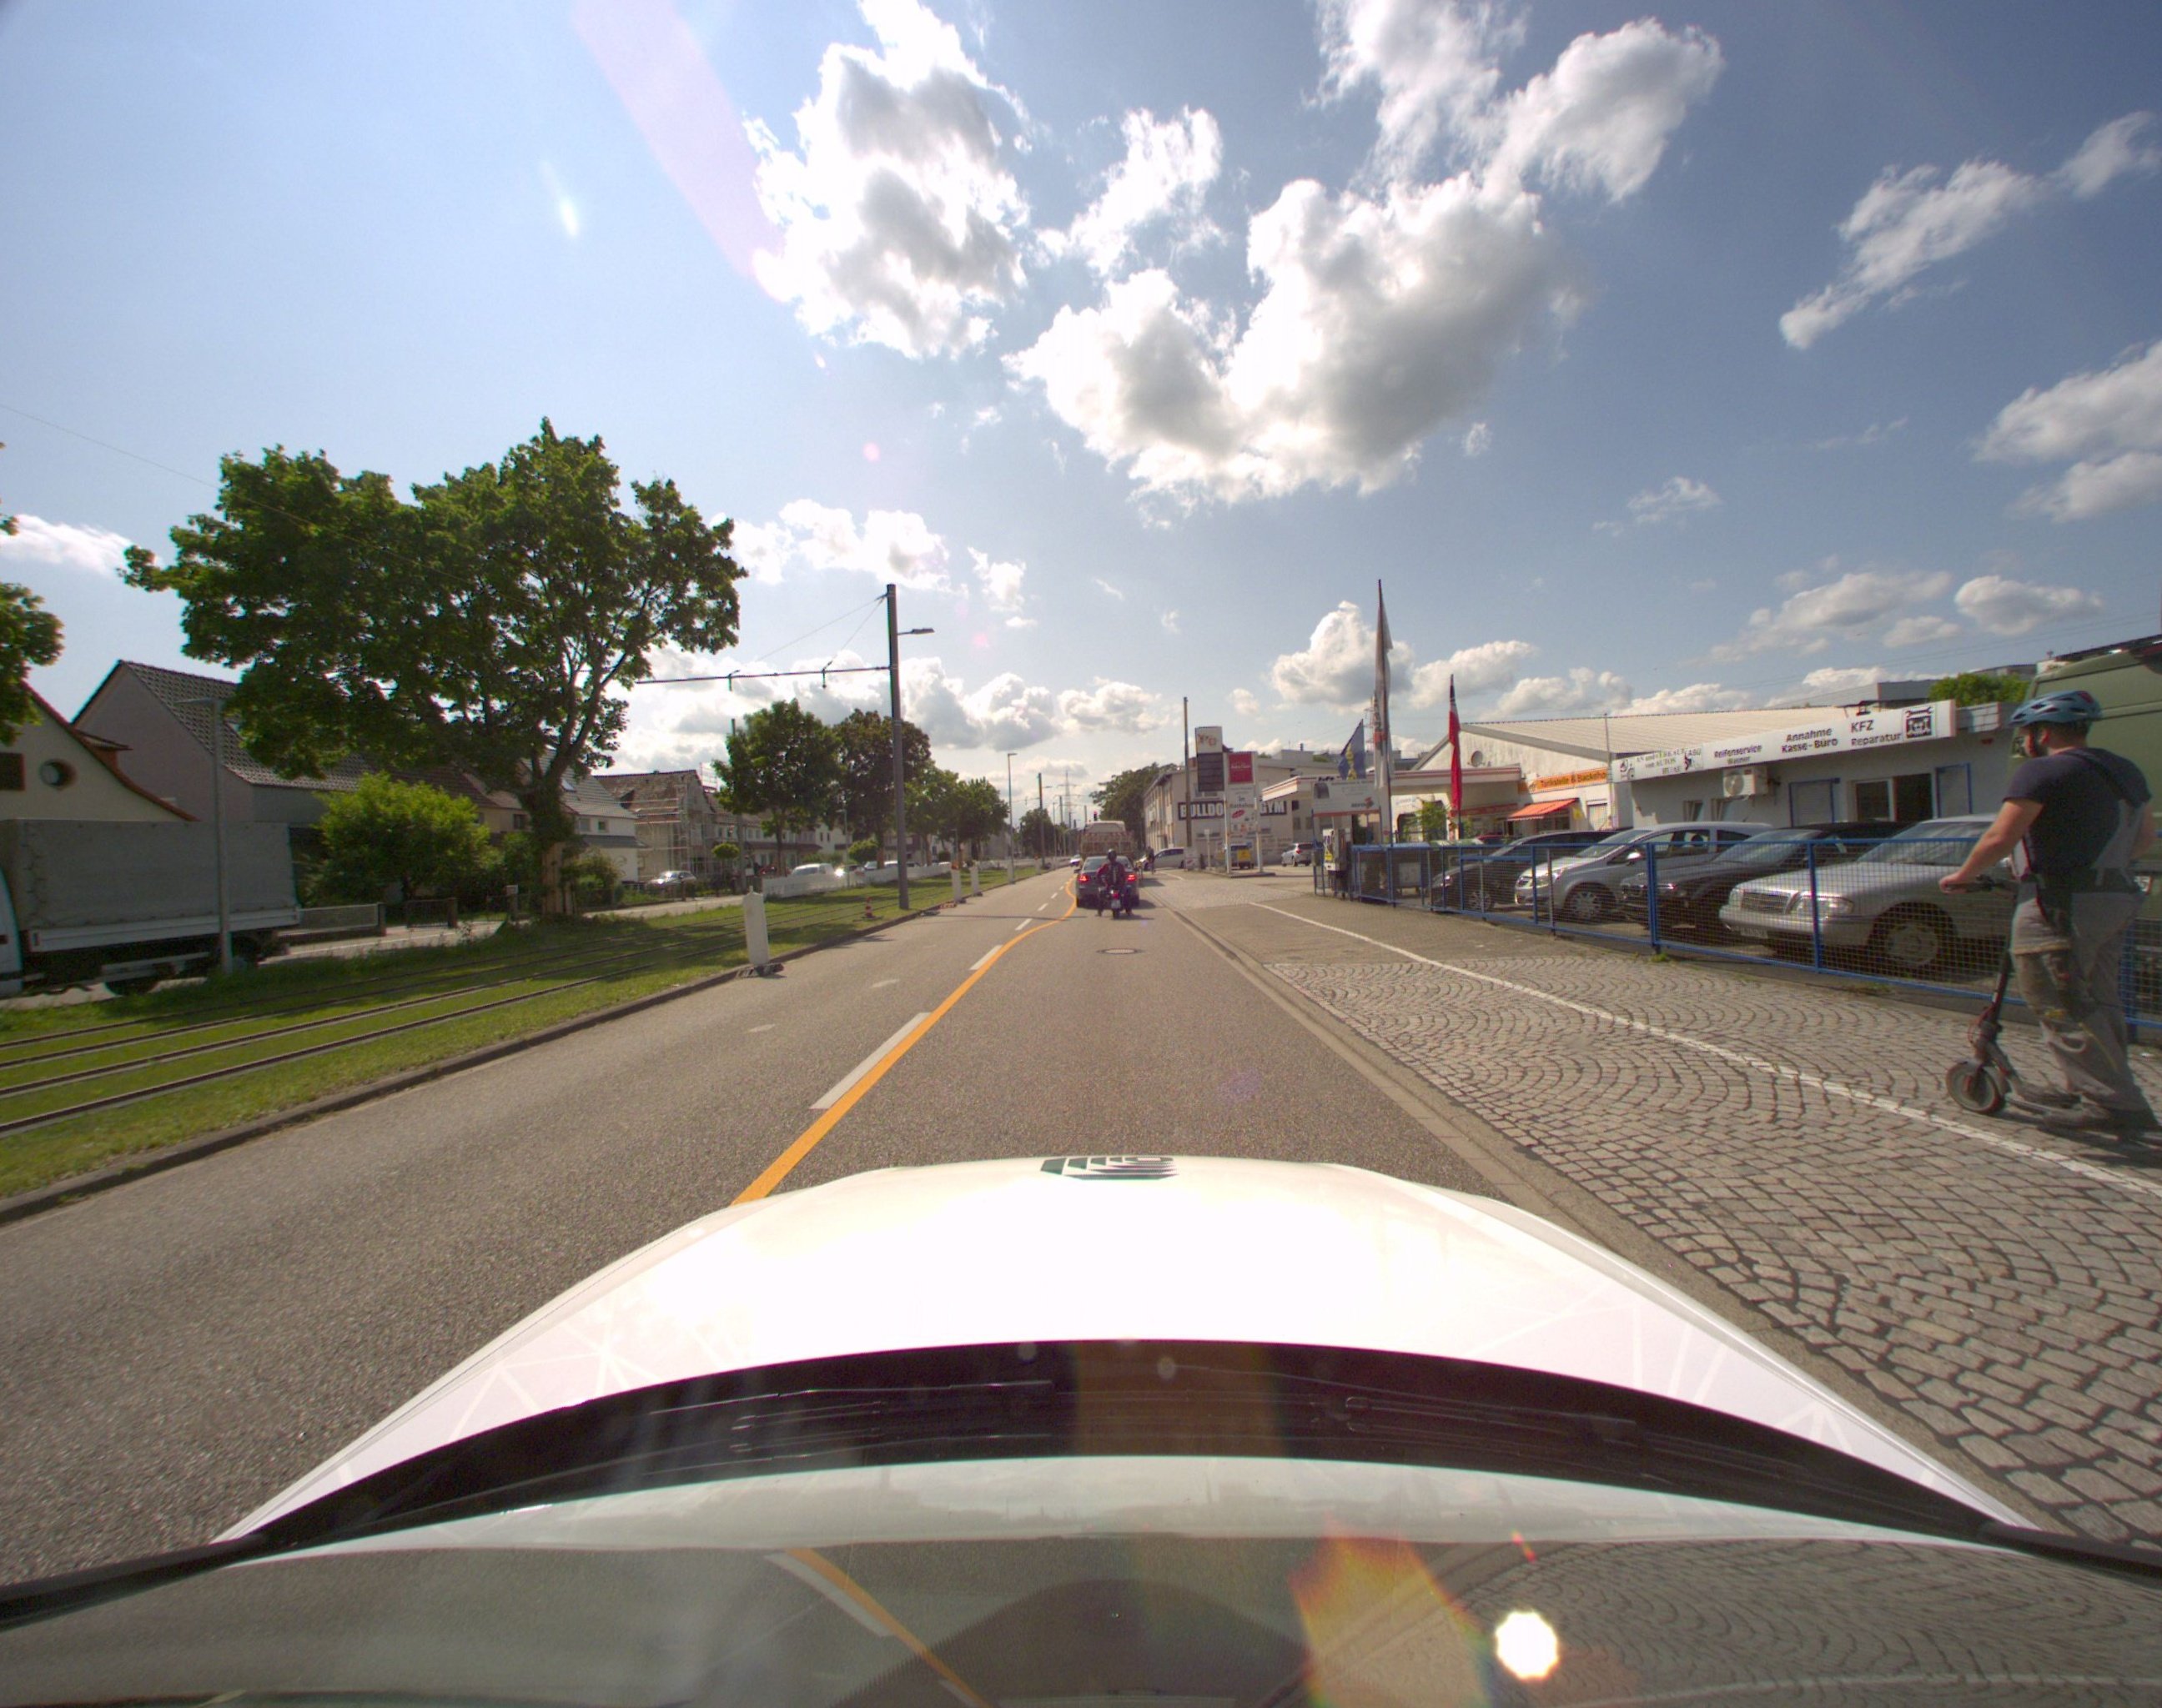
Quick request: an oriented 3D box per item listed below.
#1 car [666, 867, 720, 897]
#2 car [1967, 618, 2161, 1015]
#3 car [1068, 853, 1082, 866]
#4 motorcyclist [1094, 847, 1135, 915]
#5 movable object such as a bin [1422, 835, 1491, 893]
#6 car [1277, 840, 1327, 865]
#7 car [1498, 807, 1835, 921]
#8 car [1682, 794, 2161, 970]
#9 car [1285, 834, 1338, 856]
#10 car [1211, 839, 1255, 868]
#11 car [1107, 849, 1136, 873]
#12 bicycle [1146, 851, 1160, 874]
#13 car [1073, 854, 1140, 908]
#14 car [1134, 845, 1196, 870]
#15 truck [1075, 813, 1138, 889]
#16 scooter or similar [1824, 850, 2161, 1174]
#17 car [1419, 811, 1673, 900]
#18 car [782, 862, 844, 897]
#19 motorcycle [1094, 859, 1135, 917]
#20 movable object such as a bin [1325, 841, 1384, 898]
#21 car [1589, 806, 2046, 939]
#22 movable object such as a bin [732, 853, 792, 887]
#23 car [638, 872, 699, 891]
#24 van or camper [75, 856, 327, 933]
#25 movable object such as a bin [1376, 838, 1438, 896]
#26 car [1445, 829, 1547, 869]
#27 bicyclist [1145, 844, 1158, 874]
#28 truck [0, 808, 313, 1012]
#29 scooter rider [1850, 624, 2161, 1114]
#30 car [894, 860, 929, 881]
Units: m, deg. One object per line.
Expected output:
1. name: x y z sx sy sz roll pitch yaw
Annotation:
1. car: -23.917 1.703 50.309 1.678 1.721 3.031 -4 -1 1
2. car: 9.258 -0.351 5.250 4.518 2.573 2.153 -3 -1 3
3. car: -0.709 0.687 101.348 1.650 1.447 4.302 -4 0 0
4. motorcyclist: 0.810 0.639 19.922 0.936 1.615 1.205 -1 0 1
5. movable object such as a bin: 10.025 0.268 21.777 1.318 1.444 0.953 -4 -1 -6
6. car: 14.029 -0.098 51.890 1.953 1.420 3.998 -4 -1 -1
7. car: 9.038 0.178 12.983 3.956 1.496 1.758 -3 0 16
8. car: 8.782 0.232 8.062 4.160 1.431 1.824 -3 0 8
9. car: 20.193 -0.747 71.451 3.973 1.648 1.966 -4 -1 0
10. car: 9.511 -0.016 51.246 1.953 1.648 3.998 -4 -1 -1
11. car: 2.649 0.449 53.759 1.815 1.464 4.002 -2 0 2
12. bicycle: 4.338 0.495 49.082 0.690 1.361 2.420 -3 0 2
13. car: 0.765 0.736 24.580 1.815 1.424 4.001 -2 0 1
14. car: 6.336 0.275 61.986 4.326 1.551 1.945 -4 -1 -7
15. truck: 1.316 -0.223 40.917 2.600 3.255 9.187 -4 1 2
16. scooter or similar: 4.340 0.603 3.613 0.538 1.195 1.611 -5 -1 1
17. car: 8.769 0.053 15.759 3.954 1.442 1.719 -3 0 19
18. car: -15.028 1.398 45.871 1.986 1.750 4.001 -4 -1 1
19. motorcycle: 0.815 0.793 20.103 0.936 1.320 2.646 -1 0 1
20. movable object such as a bin: 7.336 0.413 21.904 1.251 1.444 0.824 -4 -1 1
21. car: 9.113 0.238 10.450 3.963 1.356 1.825 -3 0 9
22. movable object such as a bin: -25.657 1.256 65.711 4.352 2.449 1.776 -3 0 -21
23. car: -26.989 1.775 53.478 1.677 1.052 3.985 -4 -1 4
24. van or camper: -32.245 1.449 30.069 6.077 2.639 2.698 1 -1 -3
25. movable object such as a bin: 8.703 0.340 21.772 1.251 1.444 0.824 -4 -1 1
26. car: 16.987 -0.193 33.411 3.308 1.360 1.612 -4 -1 1
27. bicyclist: 4.235 0.293 48.840 0.669 1.744 0.814 -3 0 1
28. truck: -15.636 0.835 12.166 1.986 2.767 6.278 -6 0 1
29. scooter rider: 4.309 0.052 3.720 0.714 1.963 0.786 -5 0 2
30. car: -14.556 1.390 70.304 1.986 1.606 4.001 -4 -1 1
